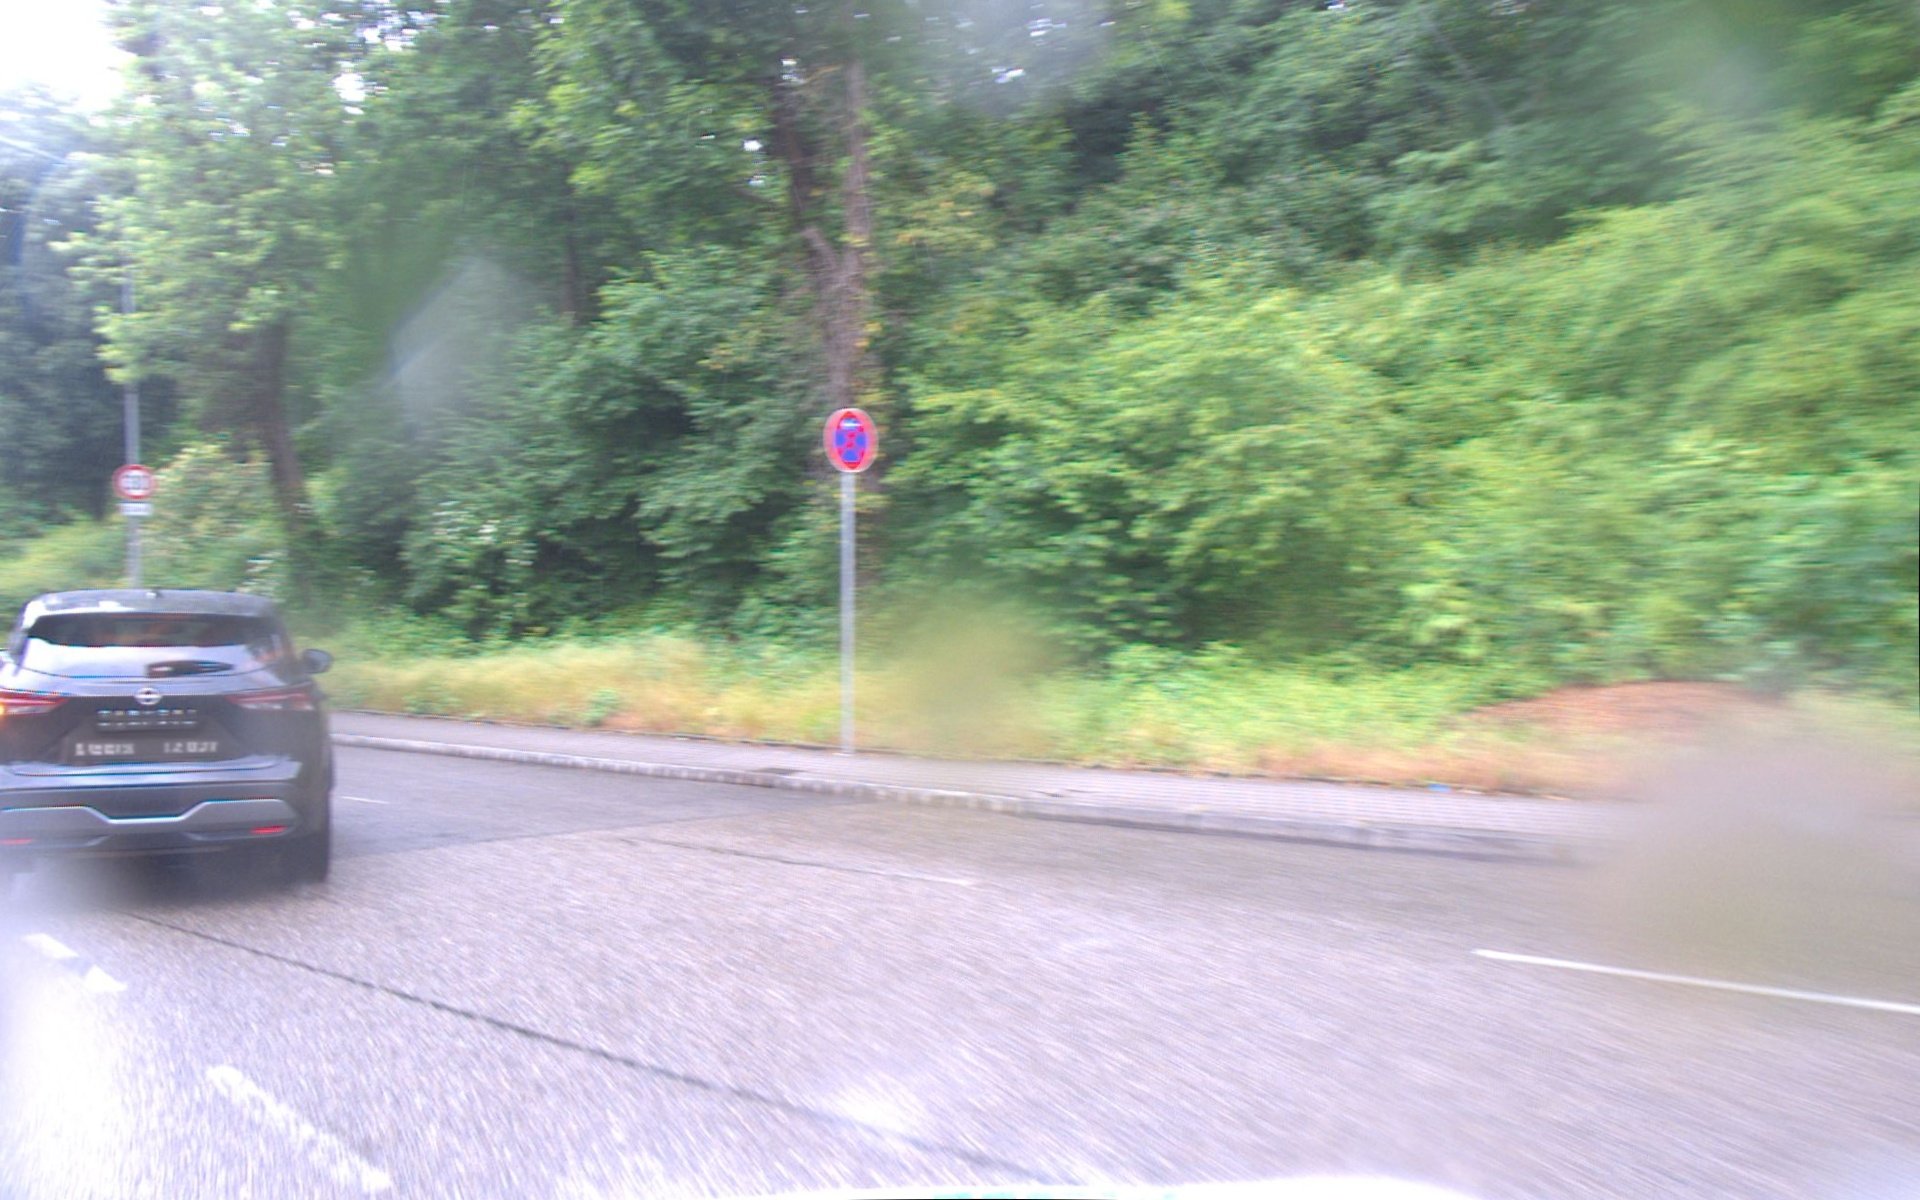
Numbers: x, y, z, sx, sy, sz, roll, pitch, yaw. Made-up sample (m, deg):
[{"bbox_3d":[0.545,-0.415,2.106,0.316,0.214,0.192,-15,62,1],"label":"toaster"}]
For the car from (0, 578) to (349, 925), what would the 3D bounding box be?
[{"bbox_3d":[-4.813,0.720,9.734,1.823,1.610,3.964,1,-1,-27],"label":"car"}]
